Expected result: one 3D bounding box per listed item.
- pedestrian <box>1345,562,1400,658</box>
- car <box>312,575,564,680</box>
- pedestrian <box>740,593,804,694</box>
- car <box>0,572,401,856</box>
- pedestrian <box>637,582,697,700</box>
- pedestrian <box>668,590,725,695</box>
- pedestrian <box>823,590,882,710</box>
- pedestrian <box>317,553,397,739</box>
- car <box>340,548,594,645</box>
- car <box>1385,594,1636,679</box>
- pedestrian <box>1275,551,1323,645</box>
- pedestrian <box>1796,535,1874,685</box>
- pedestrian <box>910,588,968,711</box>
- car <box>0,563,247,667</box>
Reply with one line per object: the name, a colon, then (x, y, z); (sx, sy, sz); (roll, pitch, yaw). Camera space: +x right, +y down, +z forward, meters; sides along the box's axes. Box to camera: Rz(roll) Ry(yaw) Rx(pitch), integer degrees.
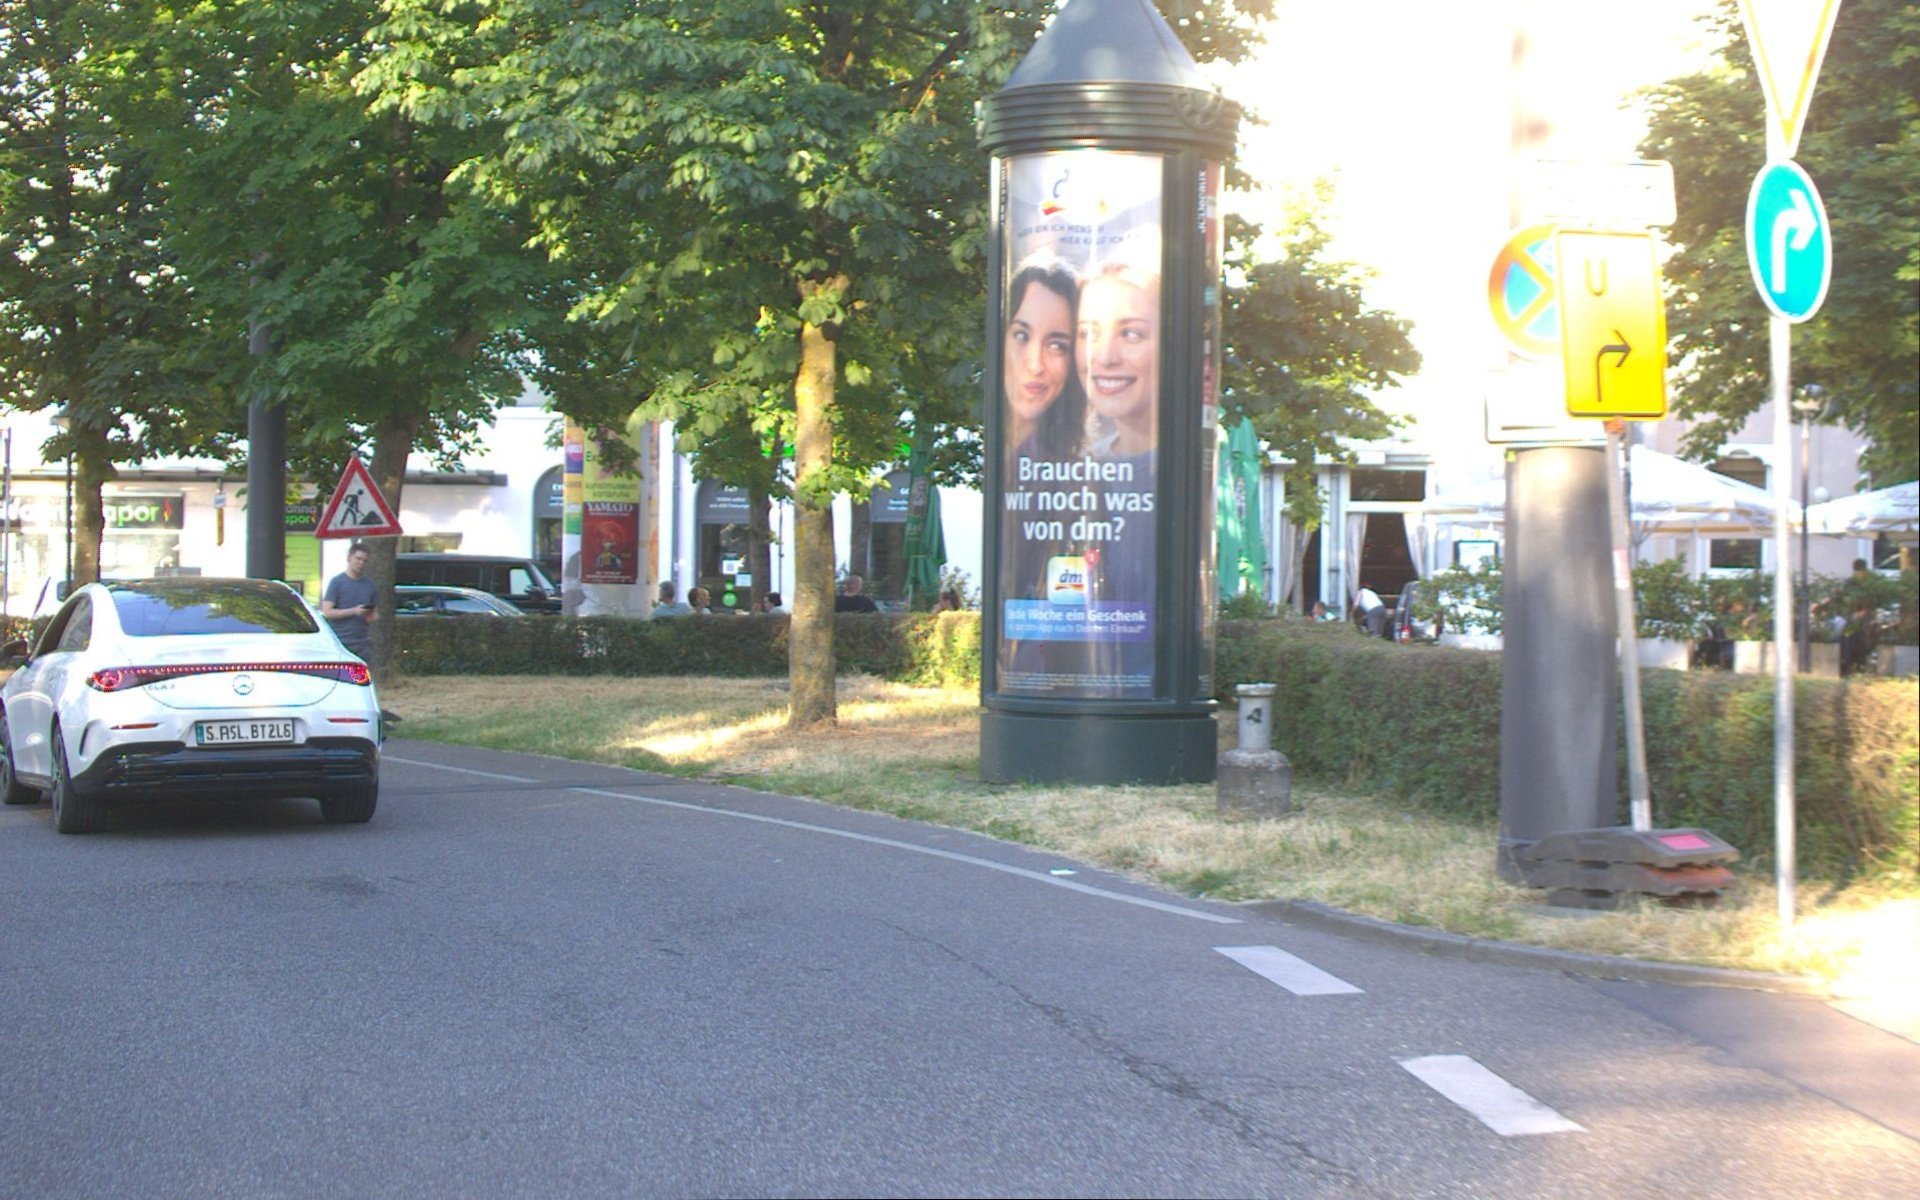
pedestrian: (8.188, 0.195, 68.253); (0.933, 1.860, 0.857); (1, 0, -1)
car: (-8.224, 0.420, 54.364); (3.613, 1.547, 1.662); (1, 0, 6)
pedestrian: (-2.569, 0.589, 47.122); (0.667, 1.348, 0.659); (1, 0, 16)
car: (-4.780, 0.605, 20.988); (1.864, 1.436, 4.198); (-3, 2, -21)
pedestrian: (-3.767, 0.522, 44.204); (0.534, 1.492, 0.659); (1, 0, 16)
pedestrian: (-3.510, 0.562, 45.881); (0.534, 1.374, 0.659); (1, 0, 16)
pedestrian: (-1.351, 0.624, 43.320); (0.534, 1.492, 0.659); (1, 0, 16)
pedestrian: (-5.157, 0.389, 29.385); (0.559, 1.561, 0.594); (2, 1, -17)
car: (-8.555, -0.070, 59.831); (3.988, 1.547, 2.000); (1, 0, 6)
car: (9.169, 0.595, 57.513); (3.988, 1.297, 1.852); (1, 0, 5)
pedestrian: (6.829, -0.037, 69.250); (0.854, 1.860, 0.936); (1, 0, 2)
pedestrian: (11.424, 0.125, 44.889); (0.934, 1.917, 0.857); (1, 0, 15)
pedestrian: (-0.265, 0.629, 43.848); (0.534, 1.543, 0.659); (1, 0, 16)
car: (-13.410, 0.224, 54.891); (3.613, 1.547, 1.662); (1, 0, 6)
